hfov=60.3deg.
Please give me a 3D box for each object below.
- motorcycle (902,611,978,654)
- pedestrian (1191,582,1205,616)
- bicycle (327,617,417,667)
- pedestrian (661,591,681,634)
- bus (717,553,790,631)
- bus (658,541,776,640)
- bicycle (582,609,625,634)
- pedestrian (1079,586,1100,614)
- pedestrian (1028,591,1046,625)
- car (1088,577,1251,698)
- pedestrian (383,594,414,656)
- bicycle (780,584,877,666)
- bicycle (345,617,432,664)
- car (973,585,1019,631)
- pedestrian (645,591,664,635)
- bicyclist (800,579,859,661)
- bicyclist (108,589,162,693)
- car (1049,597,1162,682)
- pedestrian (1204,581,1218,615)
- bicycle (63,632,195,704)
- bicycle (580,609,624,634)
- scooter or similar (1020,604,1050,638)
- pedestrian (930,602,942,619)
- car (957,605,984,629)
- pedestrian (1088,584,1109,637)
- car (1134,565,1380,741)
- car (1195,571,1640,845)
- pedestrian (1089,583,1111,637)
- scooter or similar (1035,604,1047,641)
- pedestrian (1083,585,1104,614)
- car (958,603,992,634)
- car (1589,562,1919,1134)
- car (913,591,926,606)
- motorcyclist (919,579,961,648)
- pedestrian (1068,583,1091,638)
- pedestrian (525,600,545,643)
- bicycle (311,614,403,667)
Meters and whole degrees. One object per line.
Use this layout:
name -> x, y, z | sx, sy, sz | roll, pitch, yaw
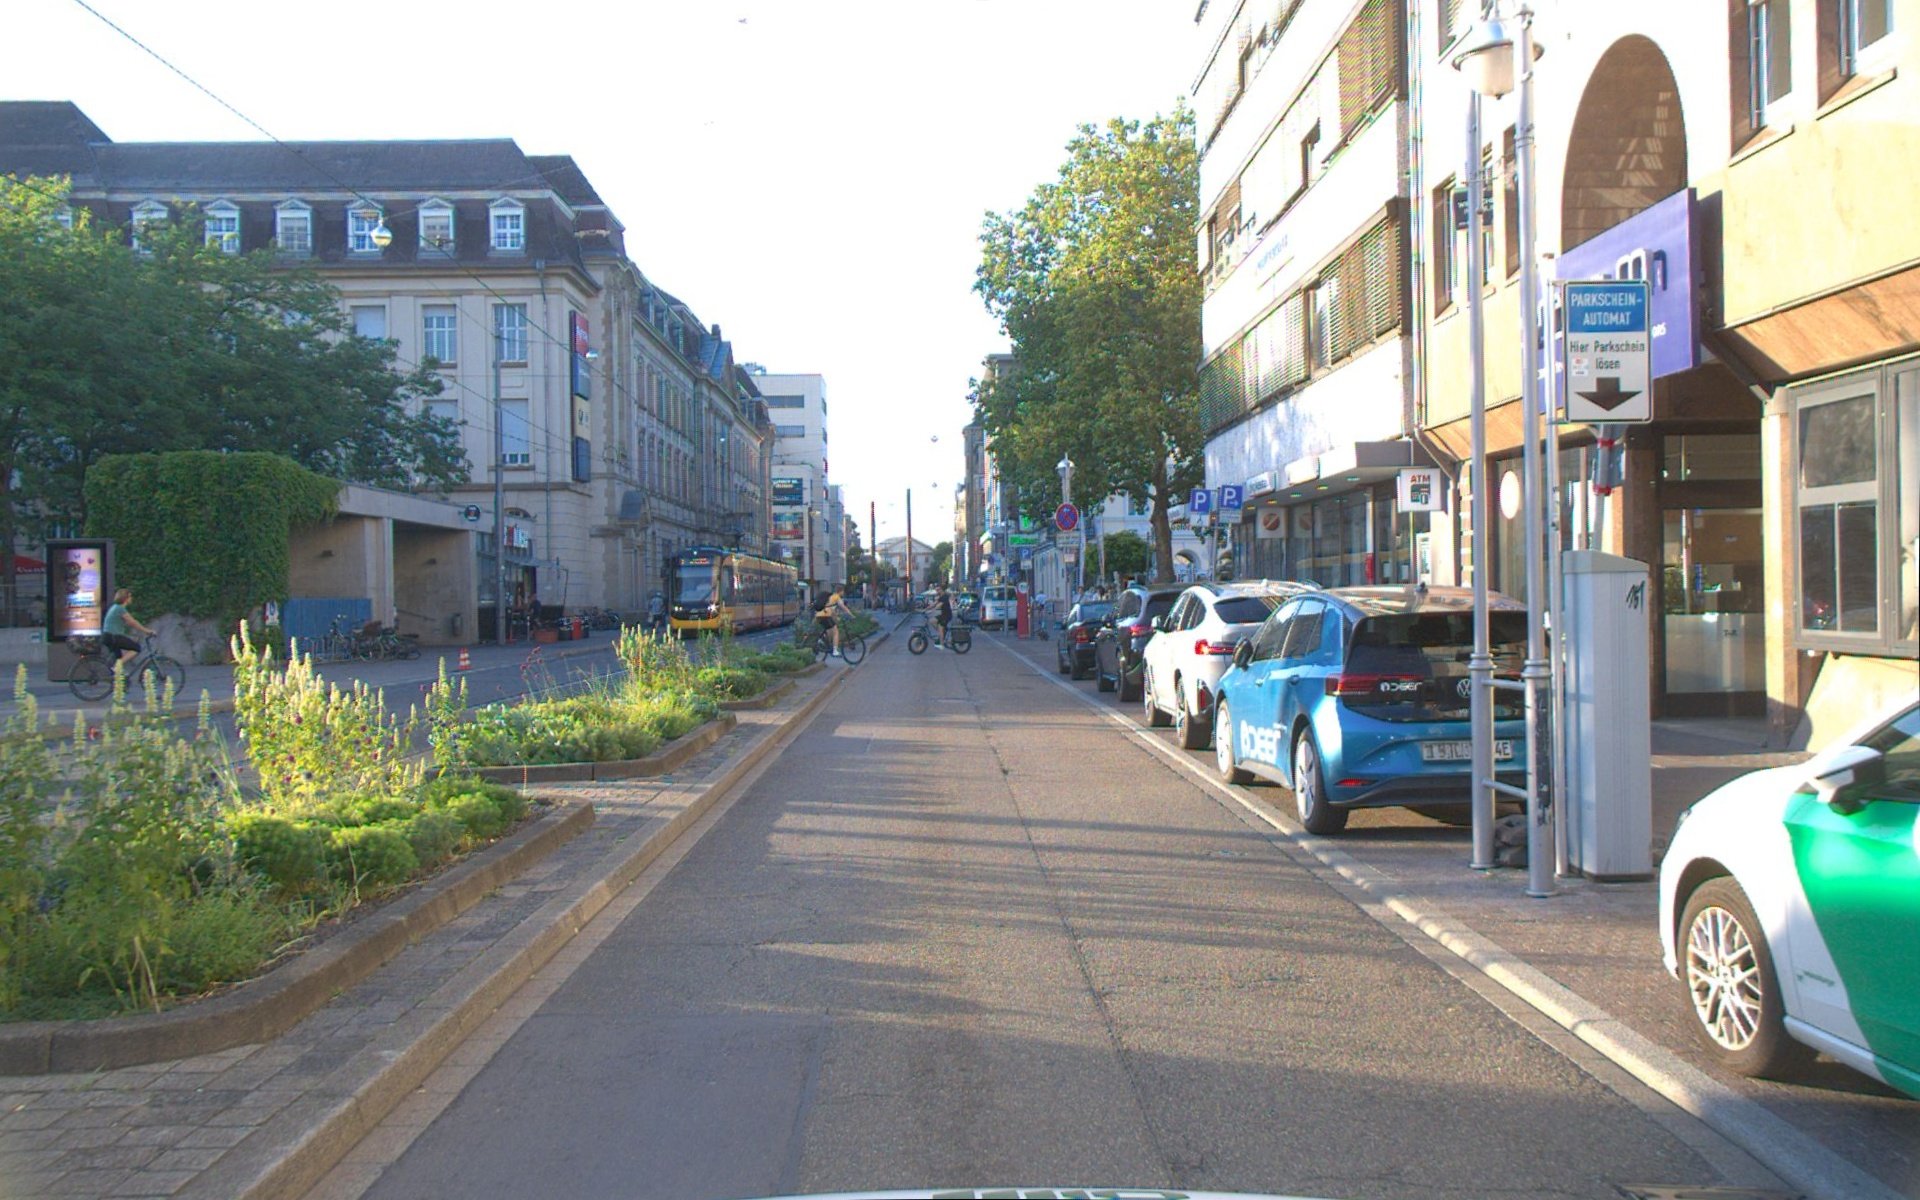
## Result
motorcycle -> -0.552, 0.886, 45.218 | 2.007, 1.143, 0.566 | -1, -2, -11
pedestrian -> 9.245, -0.047, 64.295 | 0.466, 1.307, 0.525 | -2, -2, 16
bicycle -> -15.724, 1.116, 44.246 | 2.196, 1.277, 0.579 | -1, -2, -2
pedestrian -> -12.690, 0.563, 72.595 | 0.718, 1.873, 0.714 | -1, -1, -1
bus -> -10.410, -0.351, 84.094 | 2.765, 3.688, 8.287 | -1, -1, -1
bus -> -10.201, -0.380, 71.437 | 2.765, 3.715, 17.069 | -1, 0, -1
bicycle -> -17.640, 1.077, 81.858 | 2.037, 1.168, 0.574 | -1, -2, -6
pedestrian -> 6.171, 0.005, 78.653 | 0.884, 1.329, 0.966 | -1, -2, -2
pedestrian -> 4.093, 0.436, 87.773 | 0.772, 1.782, 0.893 | -1, -2, -8
car -> 3.051, 0.488, 24.954 | 1.740, 1.565, 4.577 | -1, 1, -2
pedestrian -> -18.287, 0.820, 53.866 | 0.709, 1.968, 0.792 | -1, -2, 2
bicycle -> -2.933, 0.543, 37.154 | 0.593, 1.770, 2.351 | -1, 0, 44
bicycle -> -15.853, 1.122, 45.915 | 2.196, 1.253, 0.585 | -1, -1, -2
car -> 1.639, 0.372, 76.649 | 1.876, 2.016, 4.419 | -1, 0, -1
pedestrian -> -13.425, 0.567, 72.720 | 0.679, 1.880, 0.661 | -1, -2, -1
bicyclist -> -2.934, 0.448, 37.160 | 0.954, 1.807, 0.925 | -1, 0, 45
bicyclist -> -13.755, 0.679, 27.572 | 0.698, 1.698, 0.619 | 0, -2, -40
car -> 2.726, 0.708, 31.859 | 1.622, 1.404, 4.340 | -5, 0, -1
pedestrian -> 9.687, -0.073, 63.892 | 0.464, 1.307, 0.540 | -2, -2, 15
bicycle -> -13.818, 1.121, 27.540 | 1.920, 1.131, 0.453 | 0, -2, -42
bicycle -> -17.563, 1.058, 81.194 | 2.056, 1.168, 0.574 | -1, -2, -6
scooter or similar -> 2.870, 0.806, 63.449 | 1.102, 1.237, 0.300 | -2, -1, 0
pedestrian -> -2.765, 1.177, 191.475 | 1.210, 1.962, 1.017 | 0, 0, -17
car -> 0.794, 1.325, 127.558 | 1.953, 1.696, 4.419 | -1, -2, -1
pedestrian -> 4.659, 0.363, 55.685 | 0.601, 1.747, 0.662 | -1, -2, 1
car -> 3.020, 0.486, 17.785 | 1.779, 1.613, 4.723 | -1, 0, 0
car -> 3.050, 0.630, 12.174 | 1.773, 1.579, 4.834 | -1, 0, -2
pedestrian -> 4.650, 0.342, 55.003 | 0.664, 1.747, 0.654 | -1, -2, 1
scooter or similar -> 2.734, 0.759, 55.769 | 0.308, 1.243, 1.273 | -1, 0, 6
pedestrian -> 6.263, -0.023, 77.643 | 0.884, 1.337, 0.966 | -1, -2, -2
car -> 0.907, 1.132, 101.406 | 1.953, 1.791, 4.419 | -1, 0, -1
car -> 3.293, 0.612, 4.106 | 1.696, 1.460, 4.150 | -1, -1, -3
car -> -5.599, -0.179, 230.743 | 1.725, 1.859, 3.569 | -1, -2, -1
motorcyclist -> -0.550, 0.382, 45.239 | 0.983, 1.845, 0.957 | -1, -2, -10
pedestrian -> 4.109, 0.363, 56.978 | 0.699, 1.835, 0.824 | -2, -1, 2
pedestrian -> -16.698, 0.833, 64.985 | 0.704, 1.674, 0.655 | 0, 0, -23
bicycle -> -15.572, 1.046, 42.724 | 2.152, 1.323, 0.579 | -1, -2, -2
